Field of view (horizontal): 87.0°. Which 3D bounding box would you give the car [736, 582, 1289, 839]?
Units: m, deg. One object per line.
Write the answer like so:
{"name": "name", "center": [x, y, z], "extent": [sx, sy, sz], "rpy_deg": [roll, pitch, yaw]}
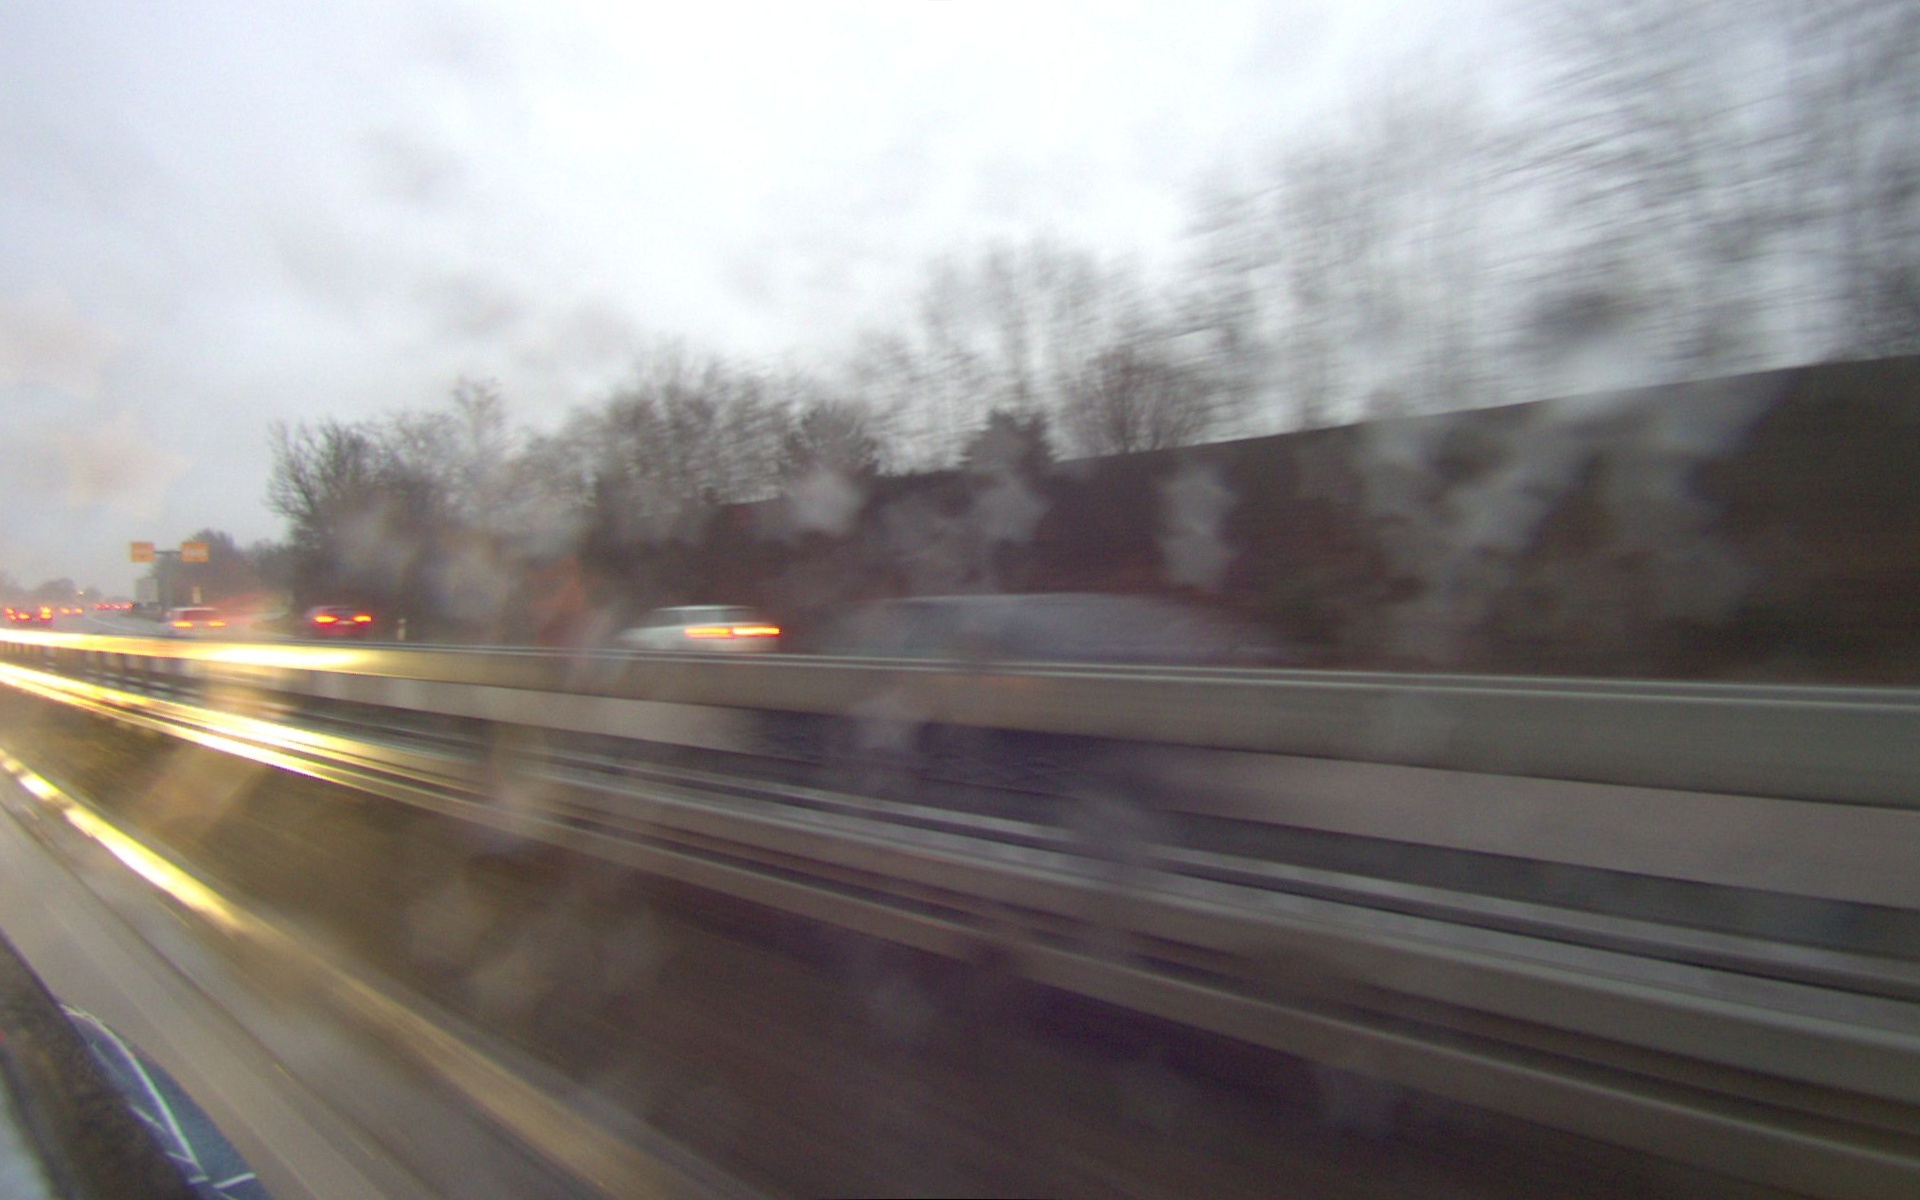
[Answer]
{"name": "car", "center": [0.218, 0.626, 7.720], "extent": [3.998, 1.452, 1.736], "rpy_deg": [0, 1, 41]}

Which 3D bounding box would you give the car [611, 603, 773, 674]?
{"name": "car", "center": [-6.584, 0.880, 24.685], "extent": [4.111, 1.550, 1.843], "rpy_deg": [0, 1, 41]}

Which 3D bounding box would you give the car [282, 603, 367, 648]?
{"name": "car", "center": [-27.613, 1.062, 43.918], "extent": [4.786, 1.846, 1.860], "rpy_deg": [0, 1, 42]}

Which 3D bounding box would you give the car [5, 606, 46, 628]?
{"name": "car", "center": [-66.590, 1.203, 72.098], "extent": [4.135, 1.521, 1.764], "rpy_deg": [0, 1, 43]}

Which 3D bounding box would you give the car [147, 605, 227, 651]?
{"name": "car", "center": [-33.319, 1.147, 43.547], "extent": [4.786, 1.846, 1.863], "rpy_deg": [0, 1, 42]}

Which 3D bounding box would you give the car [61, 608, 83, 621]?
{"name": "car", "center": [-109.012, 1.783, 124.229], "extent": [4.852, 1.578, 1.685], "rpy_deg": [0, 1, 44]}

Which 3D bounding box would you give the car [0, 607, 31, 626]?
{"name": "car", "center": [-77.943, 1.324, 83.534], "extent": [3.505, 1.530, 1.635], "rpy_deg": [0, 1, 44]}

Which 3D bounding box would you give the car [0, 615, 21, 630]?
{"name": "car", "center": [-107.570, 2.526, 114.532], "extent": [4.601, 1.495, 1.598], "rpy_deg": [0, 1, 44]}
